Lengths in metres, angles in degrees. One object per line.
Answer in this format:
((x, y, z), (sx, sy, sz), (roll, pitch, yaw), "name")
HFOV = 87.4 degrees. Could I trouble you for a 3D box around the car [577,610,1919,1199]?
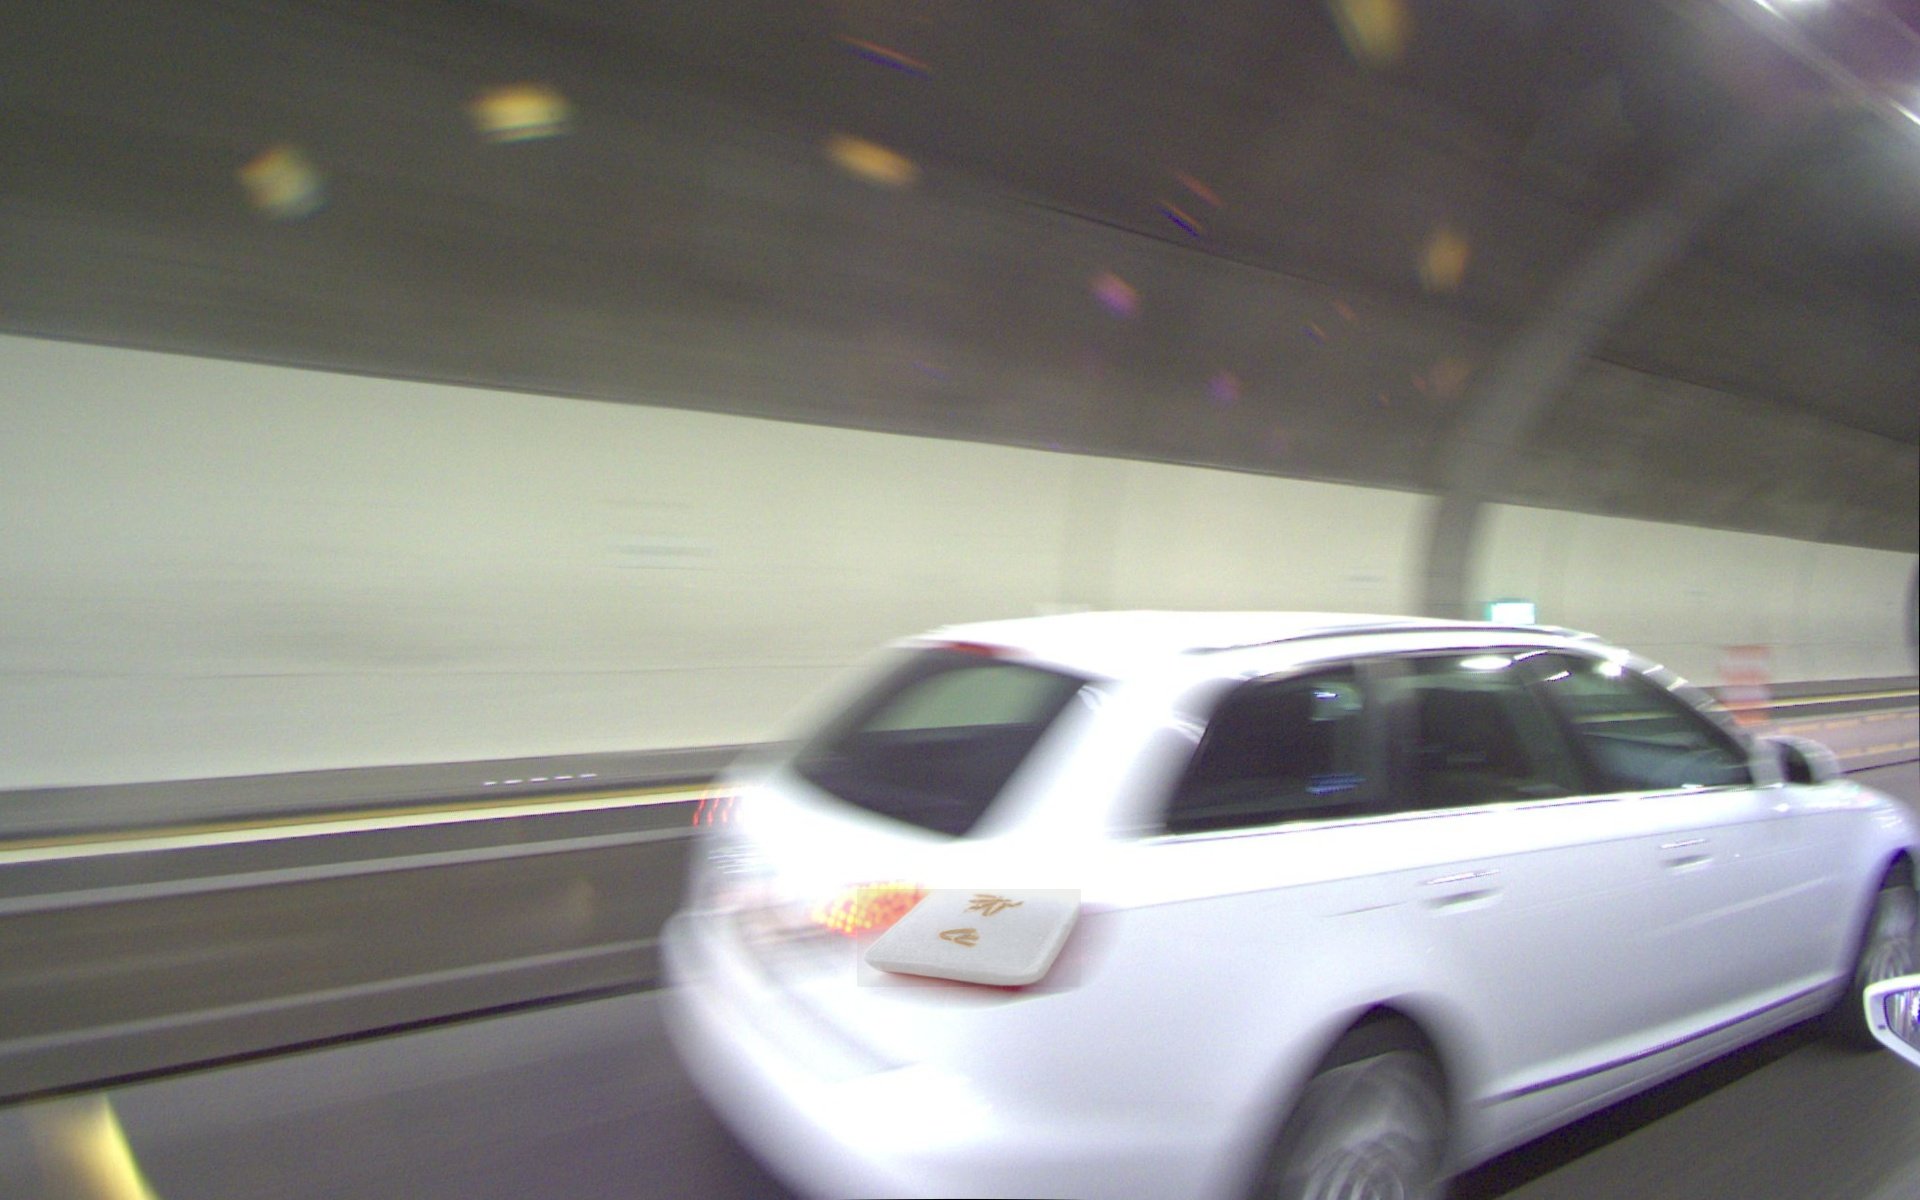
((1.443, 0.842, 3.396), (4.887, 1.504, 1.894), (1, -3, -31), "car")
